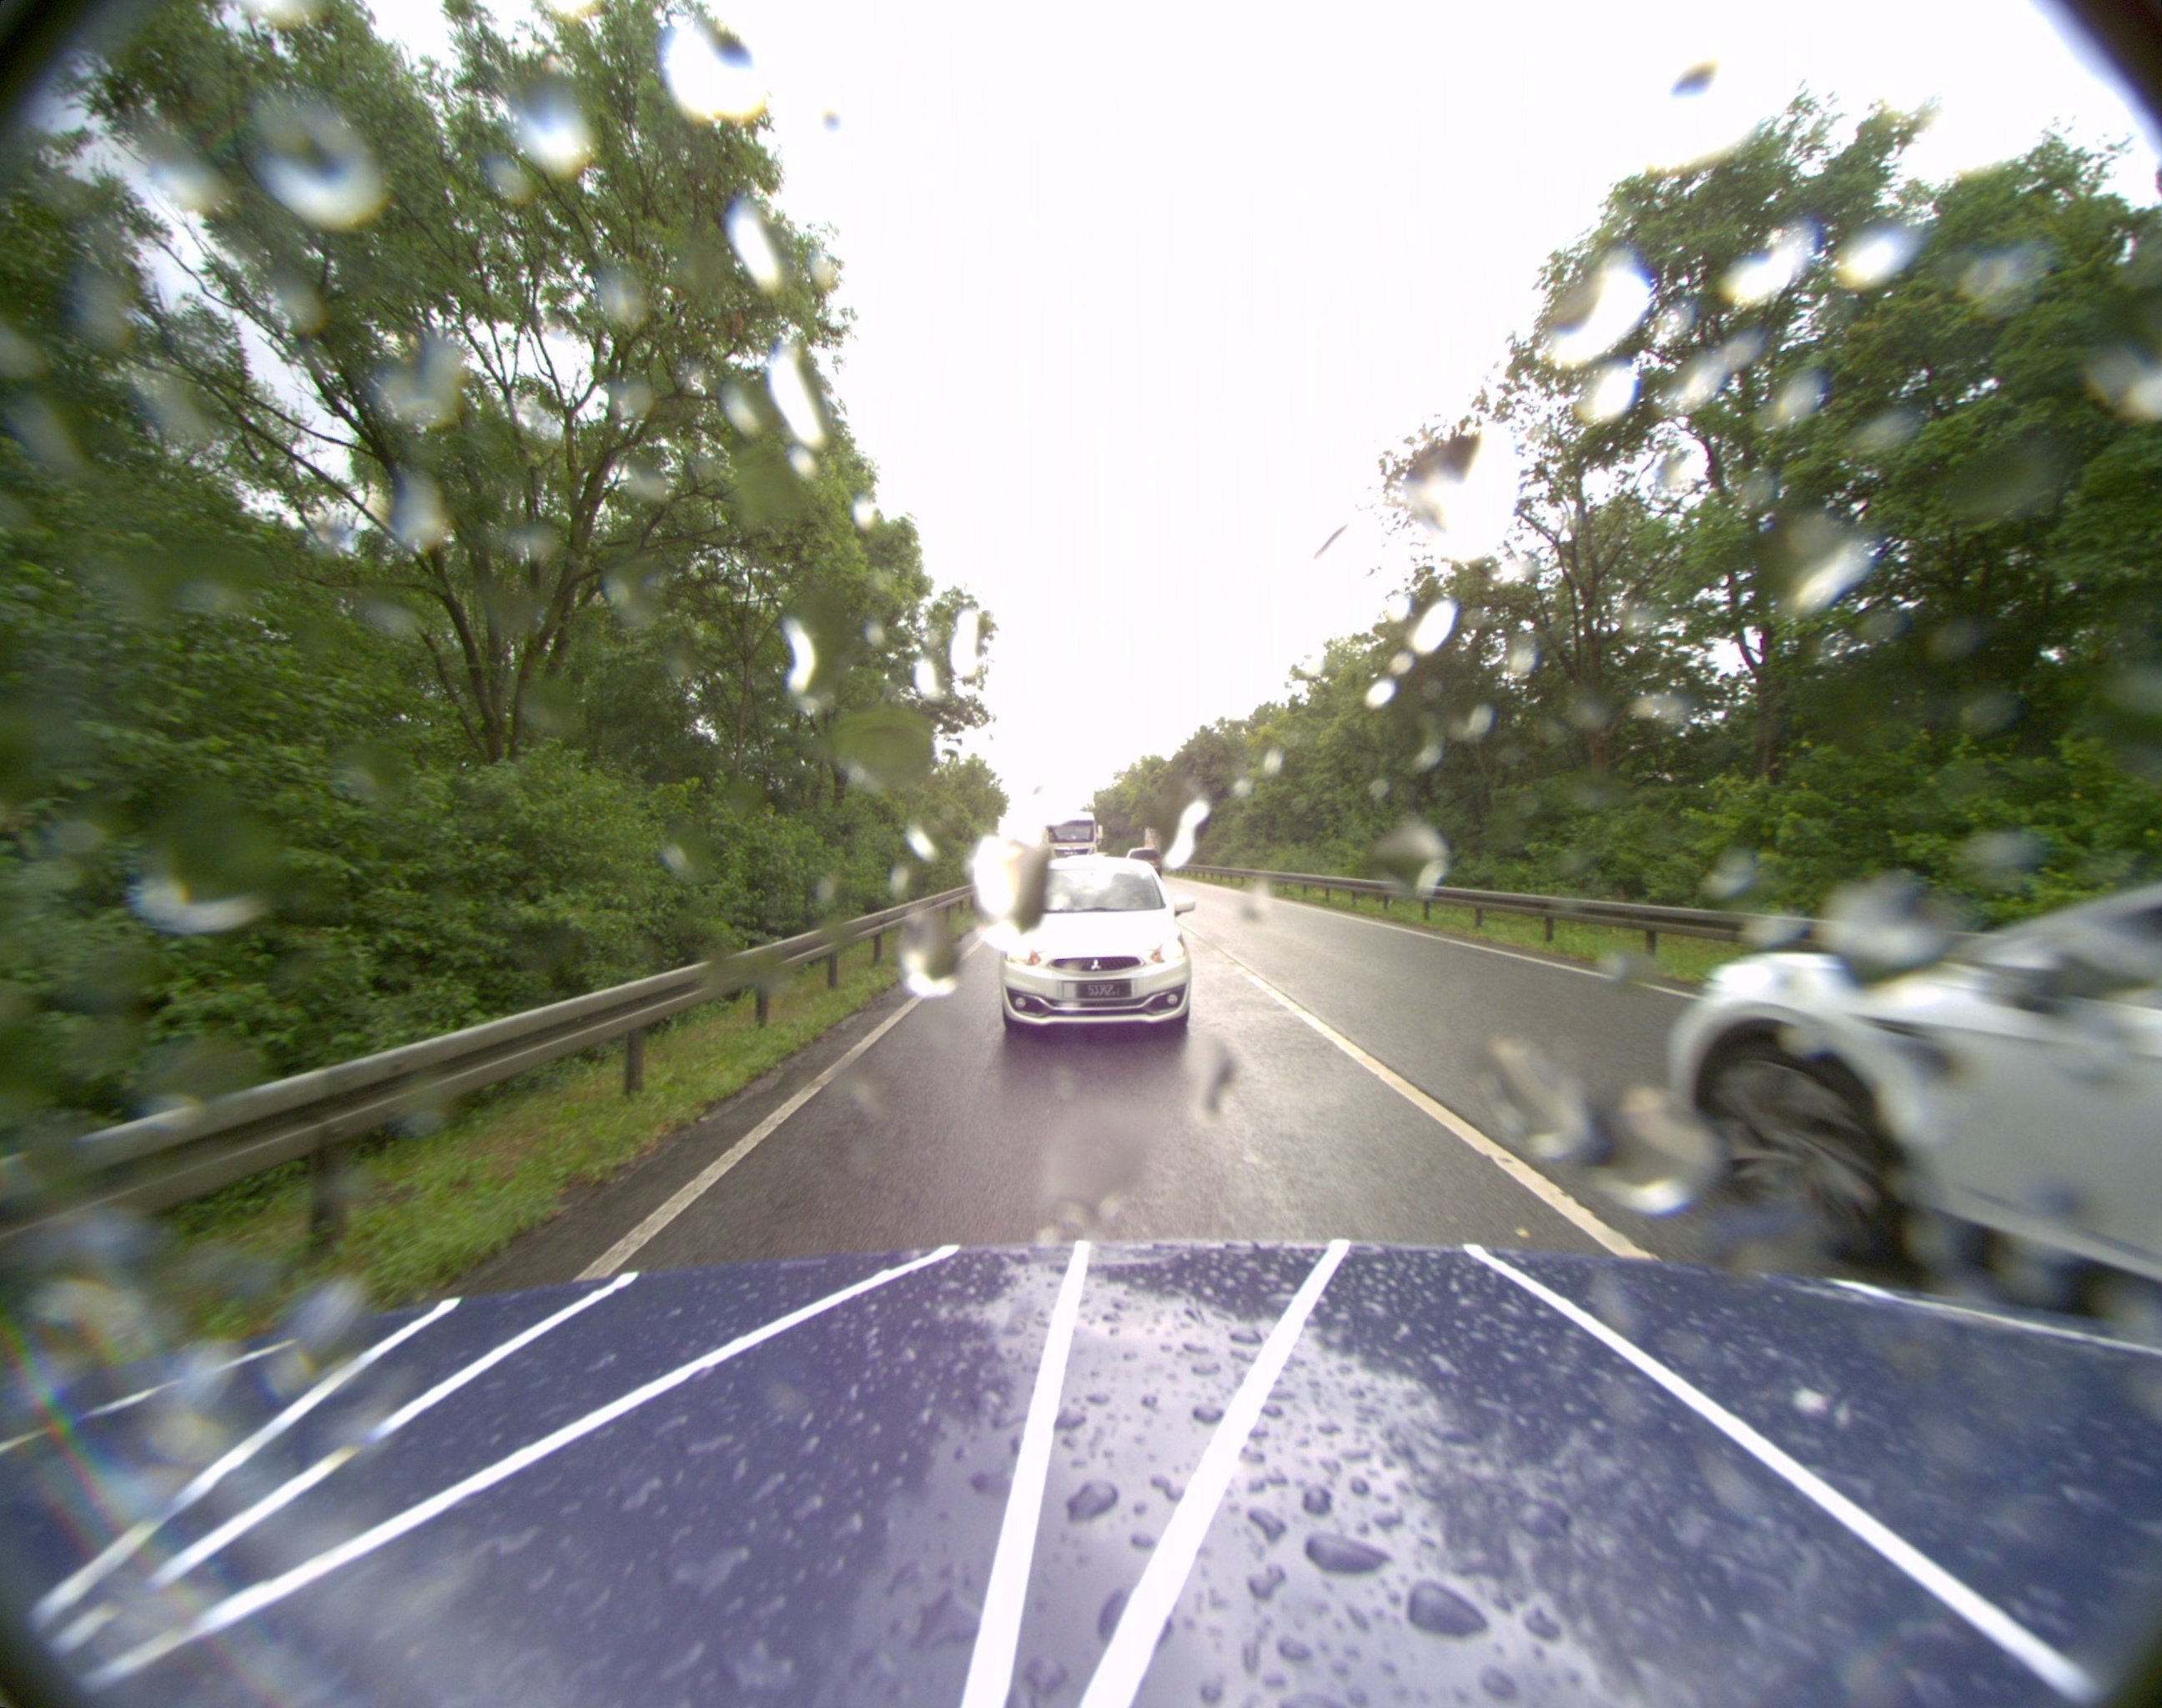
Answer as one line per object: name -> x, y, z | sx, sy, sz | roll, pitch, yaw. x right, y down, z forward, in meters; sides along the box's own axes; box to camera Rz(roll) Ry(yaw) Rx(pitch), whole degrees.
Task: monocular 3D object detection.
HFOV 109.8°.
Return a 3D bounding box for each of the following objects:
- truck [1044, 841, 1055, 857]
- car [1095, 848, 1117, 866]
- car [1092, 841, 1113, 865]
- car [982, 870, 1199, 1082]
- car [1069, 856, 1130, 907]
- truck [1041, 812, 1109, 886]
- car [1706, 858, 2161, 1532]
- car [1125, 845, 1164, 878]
truck -> -6.142, -1.006, 149.267 | 1.999, 3.023, 6.583 | -2, 1, -2
car -> 2.203, 0.232, 67.803 | 1.733, 1.423, 3.848 | -2, 1, -2
car -> 2.425, -0.186, 87.879 | 2.053, 2.661, 6.169 | -1, 1, -2
car -> 0.102, 0.974, 7.893 | 1.610, 1.435, 4.208 | -2, 1, 1
car -> 0.510, 0.806, 24.523 | 1.641, 1.413, 4.490 | -2, 0, -2
truck -> -0.522, -0.328, 40.456 | 3.137, 3.364, 9.279 | -2, 1, -3
car -> 3.404, 0.810, 0.964 | 1.811, 1.523, 4.206 | -1, 0, 1
car -> 3.570, 0.393, 43.527 | 1.819, 1.676, 4.621 | -2, 1, 0
